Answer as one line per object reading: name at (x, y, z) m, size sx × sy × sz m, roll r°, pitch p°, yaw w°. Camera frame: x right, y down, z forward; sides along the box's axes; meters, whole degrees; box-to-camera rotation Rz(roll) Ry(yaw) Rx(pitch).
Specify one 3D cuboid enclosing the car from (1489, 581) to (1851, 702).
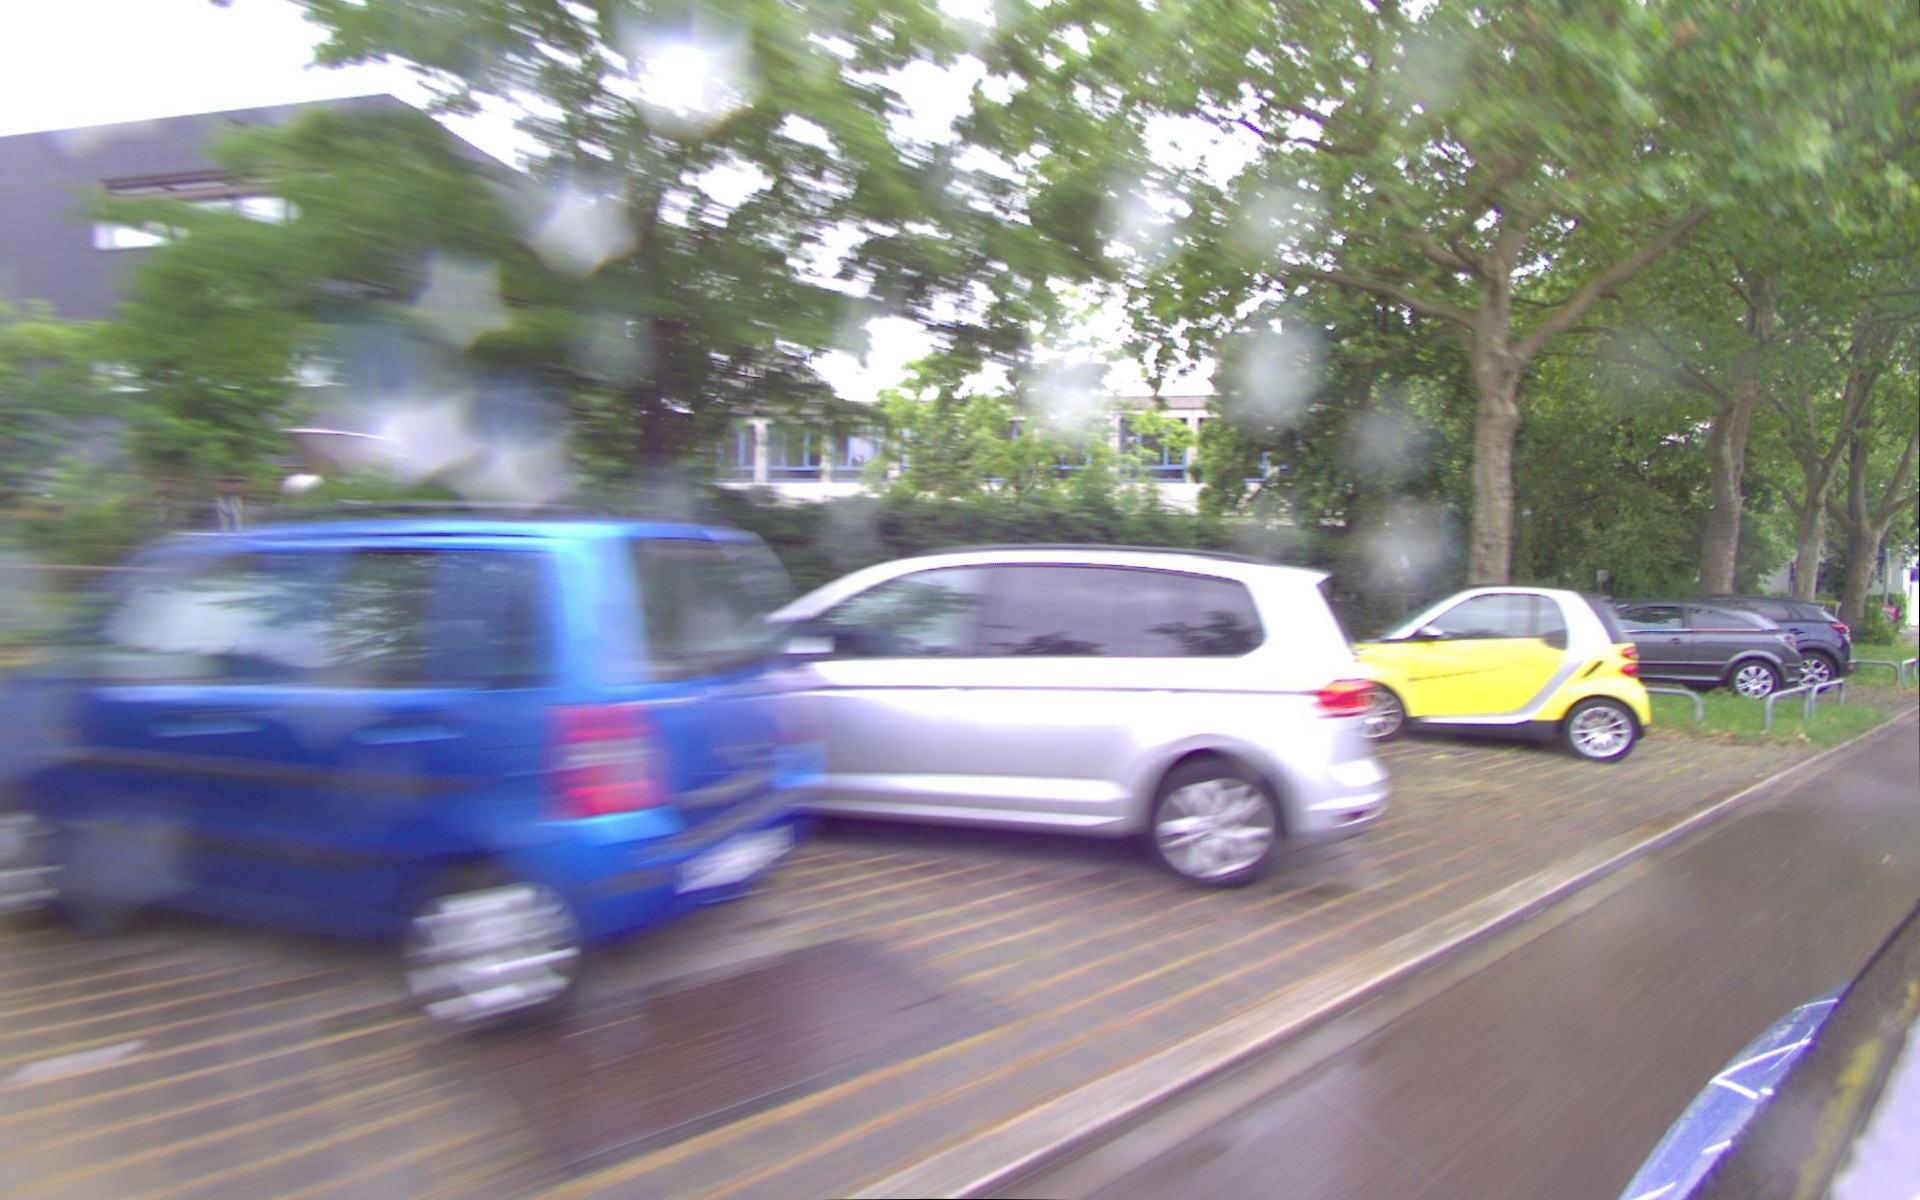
car at (10.459, 0.547, 15.250) m, size 4.003 × 1.435 × 1.736 m, roll 3°, pitch 3°, yaw 14°

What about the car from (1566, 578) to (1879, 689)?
car at (12.792, 0.494, 17.284) m, size 3.754 × 1.551 × 1.873 m, roll 3°, pitch 2°, yaw 17°

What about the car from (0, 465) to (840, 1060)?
car at (-2.315, 0.384, 4.157) m, size 3.230 × 1.691 × 1.585 m, roll 3°, pitch 3°, yaw 16°

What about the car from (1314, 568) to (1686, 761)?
car at (4.996, 0.508, 9.779) m, size 2.871 × 1.484 × 1.593 m, roll 4°, pitch 3°, yaw 21°

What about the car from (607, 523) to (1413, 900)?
car at (0.231, 0.455, 5.789) m, size 3.985 × 1.661 × 1.649 m, roll 1°, pitch 1°, yaw 12°
